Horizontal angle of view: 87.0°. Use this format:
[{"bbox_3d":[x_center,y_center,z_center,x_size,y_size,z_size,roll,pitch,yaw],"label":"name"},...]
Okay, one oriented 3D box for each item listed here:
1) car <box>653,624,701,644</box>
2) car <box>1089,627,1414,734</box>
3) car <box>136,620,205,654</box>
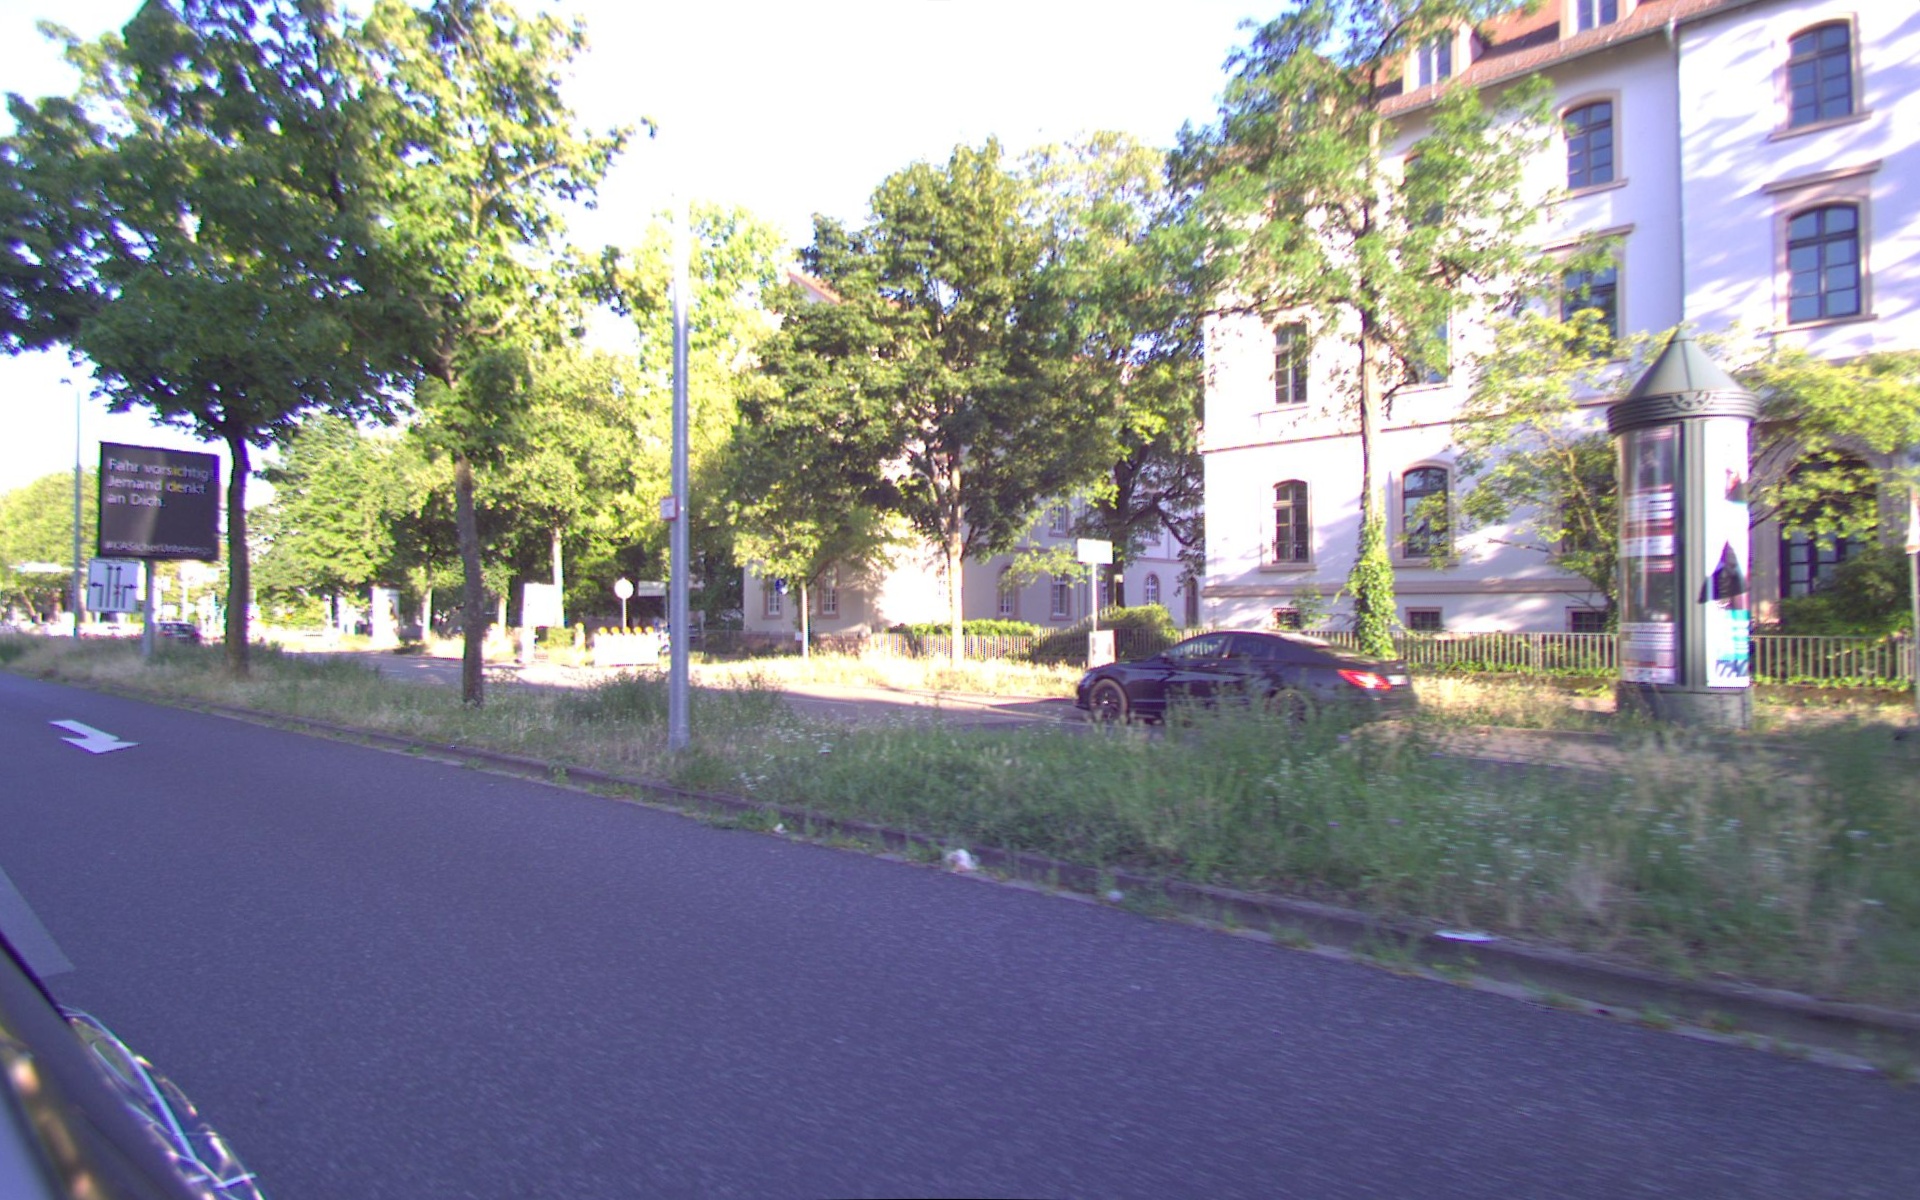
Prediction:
[{"bbox_3d":[-21.778,2.590,77.818,3.998,1.386,1.676,-1,0,42],"label":"car"},{"bbox_3d":[3.959,1.060,14.114,4.006,1.283,1.755,-1,-5,42],"label":"car"},{"bbox_3d":[-36.692,1.709,47.008,4.006,1.428,1.755,-1,-5,42],"label":"car"}]
